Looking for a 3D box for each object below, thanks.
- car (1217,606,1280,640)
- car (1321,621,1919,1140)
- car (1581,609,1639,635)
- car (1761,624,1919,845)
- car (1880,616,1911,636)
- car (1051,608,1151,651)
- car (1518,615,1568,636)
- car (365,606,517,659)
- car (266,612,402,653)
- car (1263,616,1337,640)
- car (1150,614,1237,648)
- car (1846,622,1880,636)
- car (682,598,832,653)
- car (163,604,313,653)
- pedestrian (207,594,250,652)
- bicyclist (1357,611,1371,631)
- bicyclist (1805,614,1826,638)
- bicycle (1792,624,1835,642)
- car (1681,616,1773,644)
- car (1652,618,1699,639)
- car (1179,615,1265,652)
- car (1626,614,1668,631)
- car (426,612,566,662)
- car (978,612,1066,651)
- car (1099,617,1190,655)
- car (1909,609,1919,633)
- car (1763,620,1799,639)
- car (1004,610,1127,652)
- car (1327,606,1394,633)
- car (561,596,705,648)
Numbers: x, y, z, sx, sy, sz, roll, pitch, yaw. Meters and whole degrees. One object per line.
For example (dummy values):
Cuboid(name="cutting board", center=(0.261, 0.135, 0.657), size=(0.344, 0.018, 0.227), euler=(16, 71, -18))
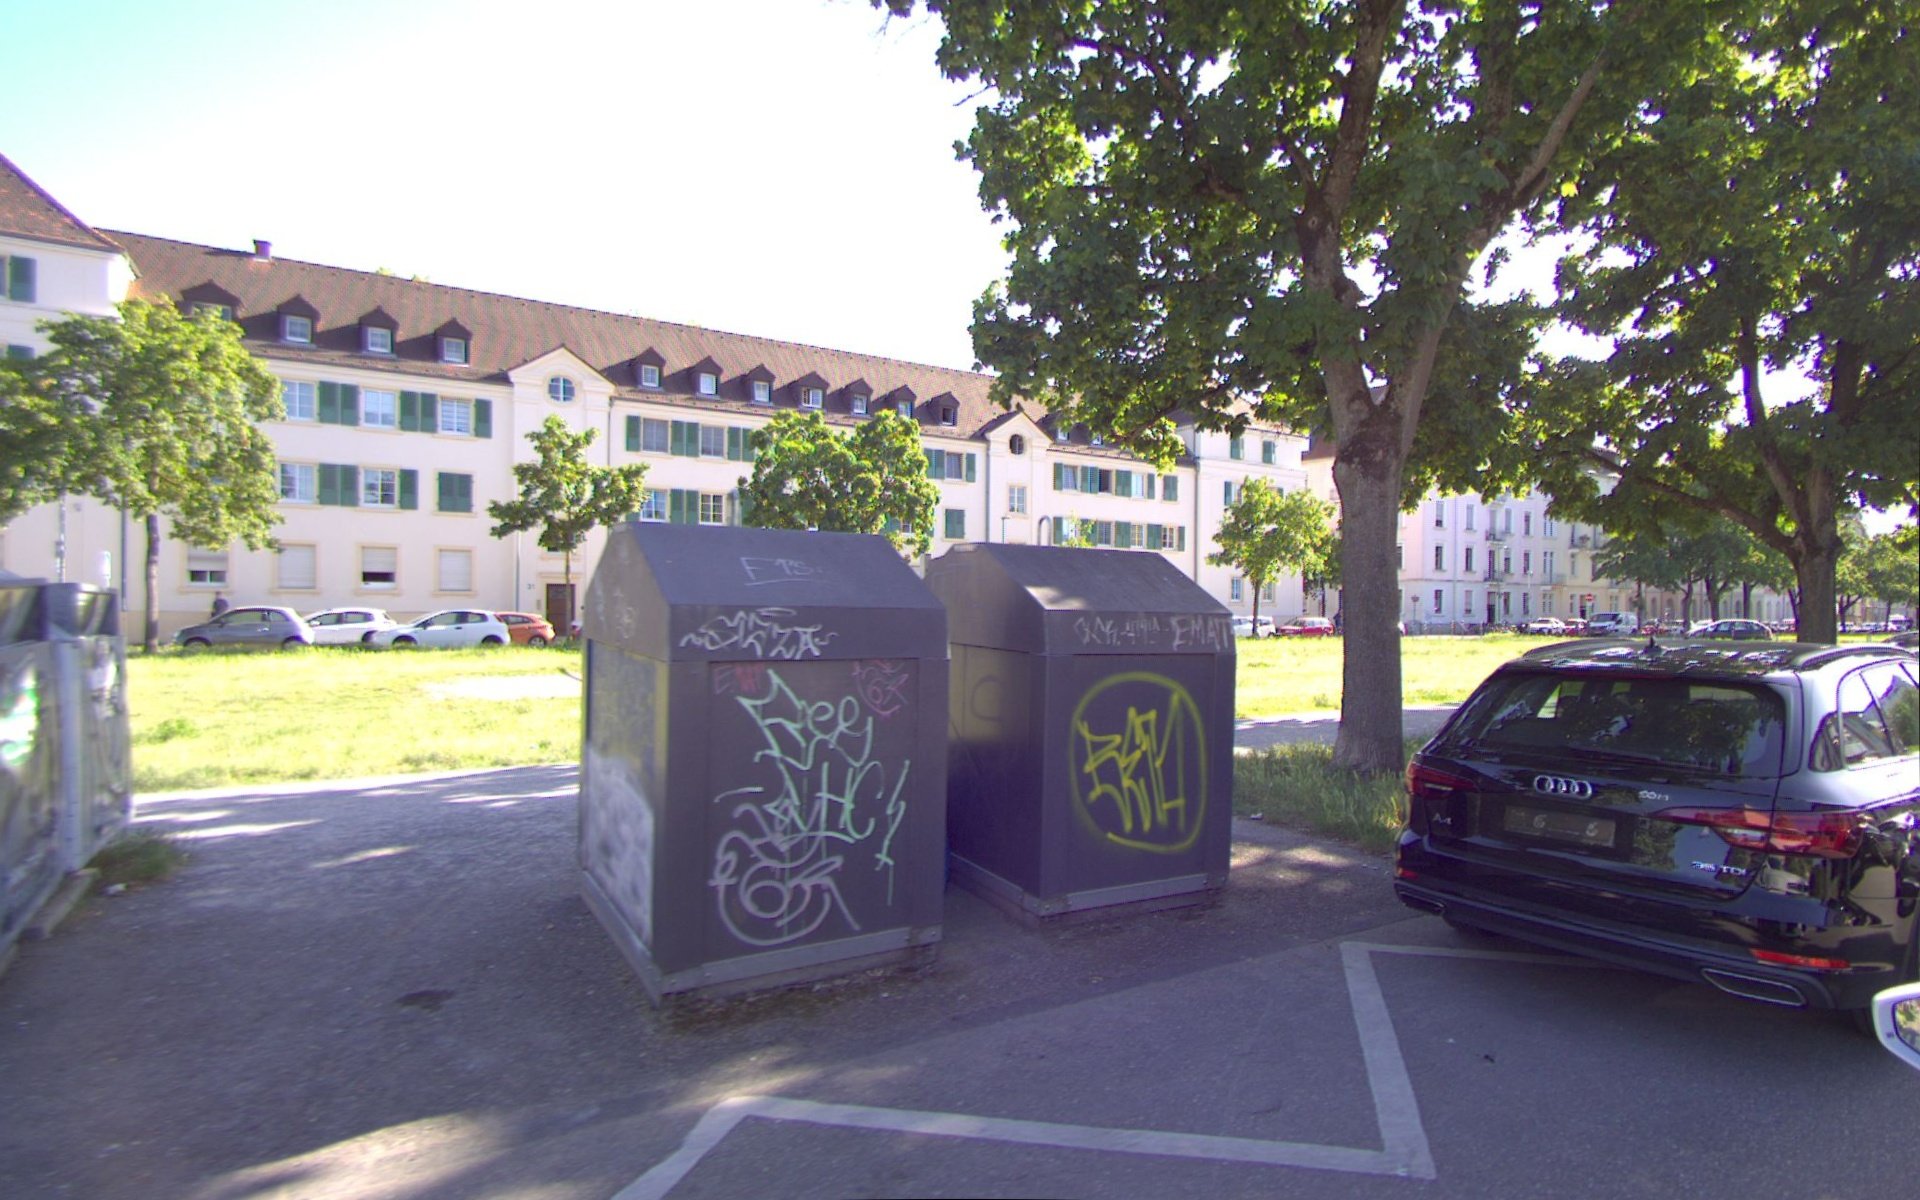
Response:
Cuboid(name="car", center=(17.849, 1.449, 62.167), size=(3.856, 2.040, 1.655), euler=(1, -1, -34))
Cuboid(name="car", center=(4.105, 0.863, 5.068), size=(4.918, 1.471, 1.823), euler=(1, -1, -35))
Cuboid(name="car", center=(49.736, 1.693, 76.846), size=(5.048, 1.897, 2.068), euler=(1, 0, -36))
Cuboid(name="car", center=(8.796, 0.964, 8.387), size=(5.107, 1.536, 1.980), euler=(1, -2, -36))
Cuboid(name="car", center=(106.086, 2.950, 113.904), size=(4.959, 2.243, 1.683), euler=(1, 0, -36))
Cuboid(name="car", center=(7.846, 1.603, 55.798), size=(5.205, 2.245, 2.514), euler=(1, 0, -35))
Cuboid(name="car", center=(47.375, 2.065, 81.597), size=(4.411, 1.608, 1.979), euler=(1, 0, -37))
Cuboid(name="car", center=(-16.677, 1.023, 32.353), size=(4.191, 1.604, 1.778), euler=(1, 0, -34))
Cuboid(name="car", center=(-22.049, 1.116, 35.479), size=(3.958, 1.374, 1.758), euler=(1, 0, -34))
Cuboid(name="car", center=(21.977, 1.811, 64.843), size=(4.906, 1.504, 1.982), euler=(1, -1, -34))
Cuboid(name="car", center=(13.853, 1.819, 59.574), size=(5.103, 1.911, 2.141), euler=(1, 0, -33))
Cuboid(name="car", center=(97.507, 3.159, 108.442), size=(3.733, 1.459, 1.836), euler=(1, 0, -33))
Cuboid(name="car", center=(-7.756, 0.950, 38.592), size=(5.205, 2.011, 2.206), euler=(1, 0, -35))
Cuboid(name="car", center=(-20.983, 0.806, 29.355), size=(3.478, 1.350, 1.640), euler=(1, 0, -34))
Cuboid(name="pedestrian", center=(-25.853, 0.806, 35.498), size=(1.153, 1.989, 1.329), euler=(1, 0, -38))
Cuboid(name="bicyclist", center=(28.399, 1.447, 70.619), size=(0.777, 1.382, 0.529), euler=(1, 0, -32))
Cuboid(name="bicyclist", center=(52.028, 1.583, 61.094), size=(0.863, 1.382, 0.621), euler=(3, 7, 36))
Cuboid(name="bicycle", center=(51.992, 2.030, 61.214), size=(1.948, 1.030, 0.657), euler=(1, 0, 34))
Cuboid(name="car", center=(46.426, 1.790, 60.910), size=(4.274, 1.597, 1.924), euler=(0, -1, 34))
Cuboid(name="car", center=(58.717, 2.321, 82.403), size=(4.651, 1.582, 1.683), euler=(1, 0, -36))
Cuboid(name="car", center=(13.844, 1.717, 52.965), size=(4.215, 1.844, 2.221), euler=(1, 0, -35))
Cuboid(name="car", center=(54.360, 1.791, 79.481), size=(3.491, 1.296, 1.683), euler=(1, 0, -35))
Cuboid(name="car", center=(-17.705, 1.381, 38.411), size=(4.598, 1.787, 1.980), euler=(1, 0, -35))
Cuboid(name="car", center=(3.269, 1.619, 52.577), size=(4.124, 1.930, 2.249), euler=(1, 0, -34))
Cuboid(name="car", center=(9.159, 1.757, 49.854), size=(3.963, 1.773, 2.305), euler=(1, 0, -32))
Cuboid(name="car", center=(116.231, 2.552, 120.922), size=(5.569, 2.780, 1.903), euler=(1, 0, -36))
Cuboid(name="car", center=(77.763, 2.787, 95.112), size=(4.041, 1.709, 1.621), euler=(1, 0, -36))
Cuboid(name="car", center=(4.984, 1.421, 47.097), size=(5.392, 1.844, 2.437), euler=(1, 0, -32))
Cuboid(name="car", center=(31.562, 1.524, 79.277), size=(2.119, 2.040, 4.531), euler=(1, 0, -35))
Cuboid(name="car", center=(-13.406, 0.874, 41.316), size=(5.205, 2.011, 2.206), euler=(1, 0, -35))
